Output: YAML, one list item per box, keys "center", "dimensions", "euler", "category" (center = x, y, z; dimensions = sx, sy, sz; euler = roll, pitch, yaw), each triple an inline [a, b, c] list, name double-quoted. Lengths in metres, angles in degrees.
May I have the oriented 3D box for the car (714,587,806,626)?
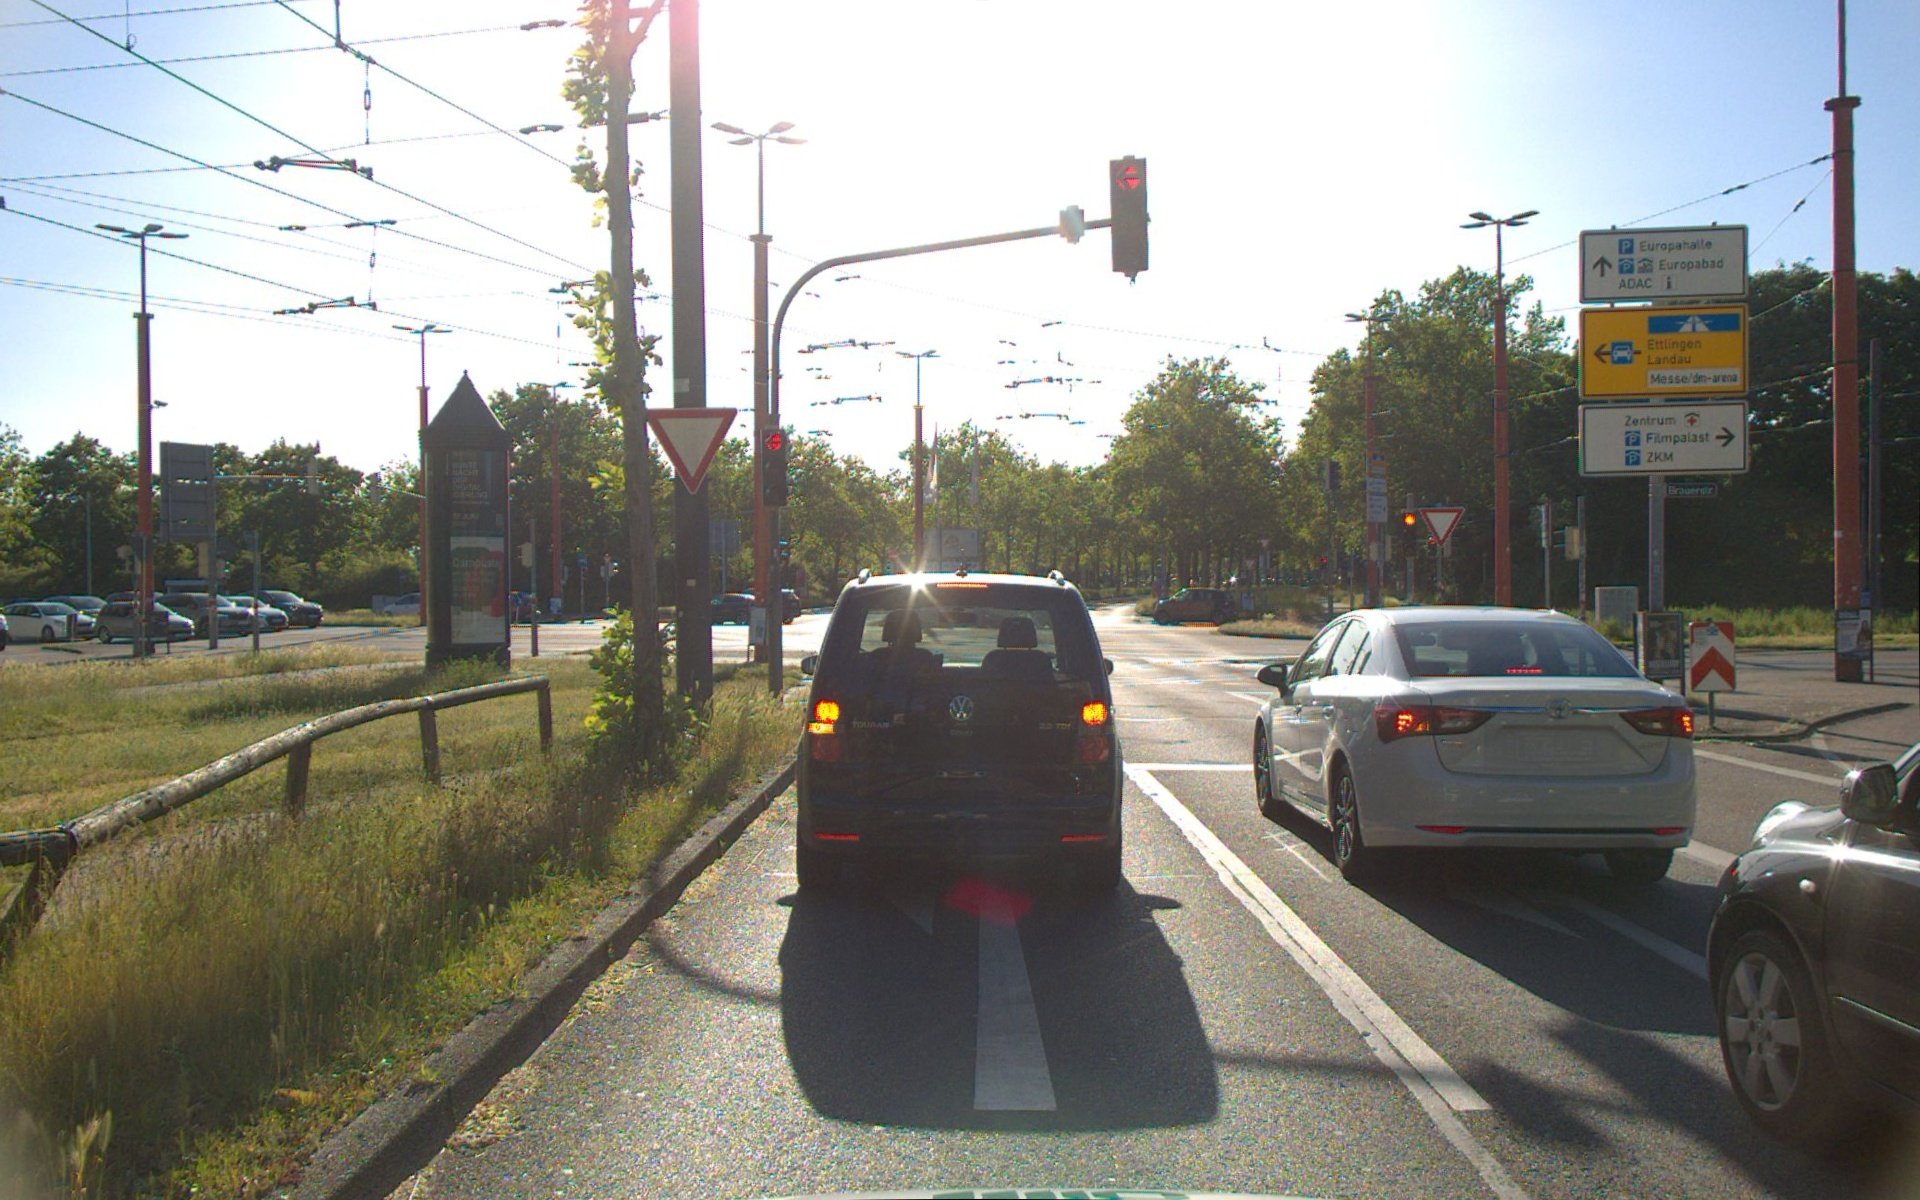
- center: [-9.549, 0.290, 79.068]
  dimensions: [4.037, 1.822, 1.797]
  euler: [0, 0, 25]
  category: "car"

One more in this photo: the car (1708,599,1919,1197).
- center: [3.137, 0.740, 3.487]
  dimensions: [1.544, 1.465, 3.441]
  euler: [1, 0, 0]
  category: "car"

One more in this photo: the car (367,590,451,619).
- center: [-27.711, 0.227, 83.136]
  dimensions: [4.039, 1.427, 1.655]
  euler: [0, 0, 27]
  category: "car"

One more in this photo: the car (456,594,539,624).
- center: [-23.885, 0.437, 85.468]
  dimensions: [4.037, 1.497, 1.655]
  euler: [0, 0, 25]
  category: "car"

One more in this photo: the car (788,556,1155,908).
- center: [0.067, 0.633, 9.962]
  dimensions: [1.703, 1.630, 4.326]
  euler: [1, 0, 0]
  category: "car"

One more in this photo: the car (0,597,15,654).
- center: [-33.580, 0.830, 55.562]
  dimensions: [4.815, 1.853, 1.822]
  euler: [1, 0, 42]
  category: "car"

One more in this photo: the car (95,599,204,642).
- center: [-29.548, 0.729, 60.297]
  dimensions: [3.755, 1.466, 1.655]
  euler: [0, 0, 27]
  category: "car"

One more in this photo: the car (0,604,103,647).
- center: [-34.942, 0.969, 63.250]
  dimensions: [4.536, 1.546, 1.654]
  euler: [0, 0, 30]
  category: "car"

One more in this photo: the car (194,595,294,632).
- center: [-29.409, 0.530, 67.923]
  dimensions: [4.060, 1.440, 1.542]
  euler: [0, 0, 26]
  category: "car"

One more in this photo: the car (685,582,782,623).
- center: [-10.224, 0.095, 74.699]
  dimensions: [4.036, 1.822, 1.798]
  euler: [0, 0, 24]
  category: "car"

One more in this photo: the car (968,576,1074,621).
- center: [2.525, -0.083, 68.826]
  dimensions: [4.036, 1.822, 1.798]
  euler: [0, 0, 24]
  category: "car"

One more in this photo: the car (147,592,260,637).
- center: [-29.322, 0.539, 64.088]
  dimensions: [4.541, 1.676, 1.654]
  euler: [0, 0, 30]
  category: "car"

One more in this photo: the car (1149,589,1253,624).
- center: [10.107, 0.258, 69.344]
  dimensions: [4.036, 1.427, 1.656]
  euler: [0, 0, 25]
  category: "car"

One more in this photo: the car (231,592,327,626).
- center: [-29.473, 0.371, 71.546]
  dimensions: [4.060, 1.440, 1.542]
  euler: [0, 0, 26]
  category: "car"

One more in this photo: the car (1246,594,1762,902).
- center: [3.015, 0.727, 10.184]
  dimensions: [1.762, 1.465, 4.326]
  euler: [1, 0, 0]
  category: "car"
